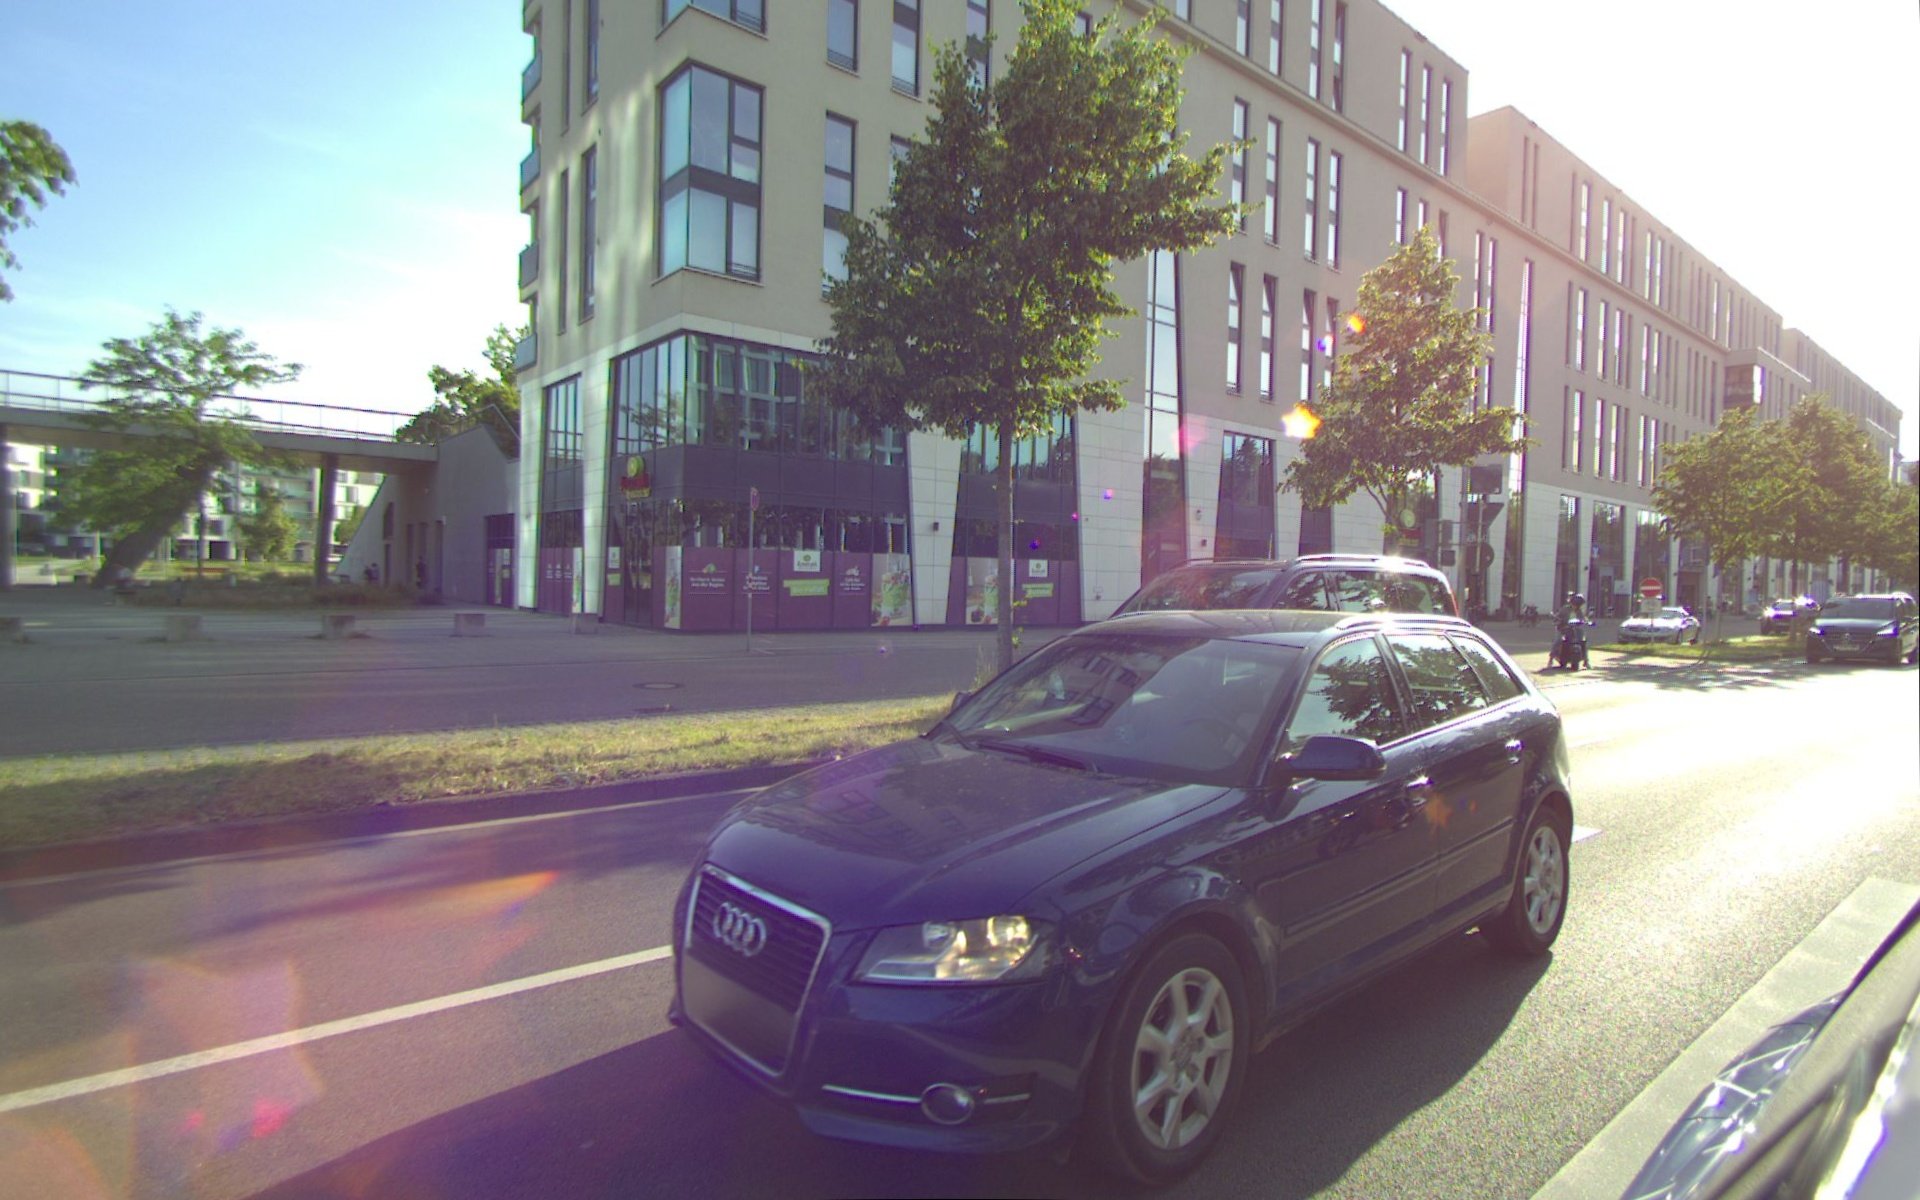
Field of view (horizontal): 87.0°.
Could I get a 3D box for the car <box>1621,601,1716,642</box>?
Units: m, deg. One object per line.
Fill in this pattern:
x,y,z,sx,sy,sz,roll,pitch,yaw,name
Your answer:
23.855,0.678,34.031,3.837,1.258,1.711,-1,1,-41,car

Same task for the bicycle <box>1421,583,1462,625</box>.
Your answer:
18.654,0.126,39.187,2.235,1.590,0.556,-1,0,-39,bicycle

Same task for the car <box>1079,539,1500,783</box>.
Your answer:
3.487,0.452,10.179,4.736,1.915,1.802,-1,0,-40,car

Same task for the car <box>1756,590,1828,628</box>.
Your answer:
38.969,0.413,47.365,4.596,1.730,1.900,1,0,-41,car

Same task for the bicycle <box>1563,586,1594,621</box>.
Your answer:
29.432,0.149,48.157,2.173,1.639,0.556,-1,0,-39,bicycle

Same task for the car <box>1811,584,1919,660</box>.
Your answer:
24.888,0.522,27.552,4.694,1.890,1.863,-1,0,-40,car

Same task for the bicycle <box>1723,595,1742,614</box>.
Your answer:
48.458,0.252,63.471,1.910,1.130,0.493,-1,2,-40,bicycle

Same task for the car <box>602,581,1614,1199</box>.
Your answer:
0.886,0.666,3.959,3.964,1.453,1.755,-1,0,-40,car

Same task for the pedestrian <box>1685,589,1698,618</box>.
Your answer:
45.364,0.185,62.750,0.635,1.785,0.538,0,0,-39,pedestrian

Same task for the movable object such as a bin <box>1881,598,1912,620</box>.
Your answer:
55.739,0.526,60.244,1.158,1.307,1.278,0,0,-43,movable object such as a bin

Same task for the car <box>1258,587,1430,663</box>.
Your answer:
7.807,0.435,20.415,4.087,1.388,1.608,-1,0,-43,car

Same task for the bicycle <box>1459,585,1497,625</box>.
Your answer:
20.998,0.176,41.000,2.173,1.587,0.556,-1,0,-39,bicycle

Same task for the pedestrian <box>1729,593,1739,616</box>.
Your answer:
54.606,0.323,71.386,0.536,1.594,0.508,0,0,36,pedestrian

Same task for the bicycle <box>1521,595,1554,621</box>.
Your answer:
25.704,0.350,45.026,1.870,1.097,0.635,0,2,-39,bicycle

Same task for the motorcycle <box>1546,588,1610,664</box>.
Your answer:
13.989,0.560,22.876,1.977,1.638,0.702,-1,0,-42,motorcycle

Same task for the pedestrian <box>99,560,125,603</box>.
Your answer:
-25.719,-0.560,30.703,0.571,1.310,0.597,0,0,-39,pedestrian

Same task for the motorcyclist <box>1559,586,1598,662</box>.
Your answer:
14.006,0.533,22.936,0.411,1.660,0.624,0,2,-43,motorcyclist

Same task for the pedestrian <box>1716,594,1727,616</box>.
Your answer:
54.107,0.349,71.923,0.587,1.541,0.514,0,0,-40,pedestrian
